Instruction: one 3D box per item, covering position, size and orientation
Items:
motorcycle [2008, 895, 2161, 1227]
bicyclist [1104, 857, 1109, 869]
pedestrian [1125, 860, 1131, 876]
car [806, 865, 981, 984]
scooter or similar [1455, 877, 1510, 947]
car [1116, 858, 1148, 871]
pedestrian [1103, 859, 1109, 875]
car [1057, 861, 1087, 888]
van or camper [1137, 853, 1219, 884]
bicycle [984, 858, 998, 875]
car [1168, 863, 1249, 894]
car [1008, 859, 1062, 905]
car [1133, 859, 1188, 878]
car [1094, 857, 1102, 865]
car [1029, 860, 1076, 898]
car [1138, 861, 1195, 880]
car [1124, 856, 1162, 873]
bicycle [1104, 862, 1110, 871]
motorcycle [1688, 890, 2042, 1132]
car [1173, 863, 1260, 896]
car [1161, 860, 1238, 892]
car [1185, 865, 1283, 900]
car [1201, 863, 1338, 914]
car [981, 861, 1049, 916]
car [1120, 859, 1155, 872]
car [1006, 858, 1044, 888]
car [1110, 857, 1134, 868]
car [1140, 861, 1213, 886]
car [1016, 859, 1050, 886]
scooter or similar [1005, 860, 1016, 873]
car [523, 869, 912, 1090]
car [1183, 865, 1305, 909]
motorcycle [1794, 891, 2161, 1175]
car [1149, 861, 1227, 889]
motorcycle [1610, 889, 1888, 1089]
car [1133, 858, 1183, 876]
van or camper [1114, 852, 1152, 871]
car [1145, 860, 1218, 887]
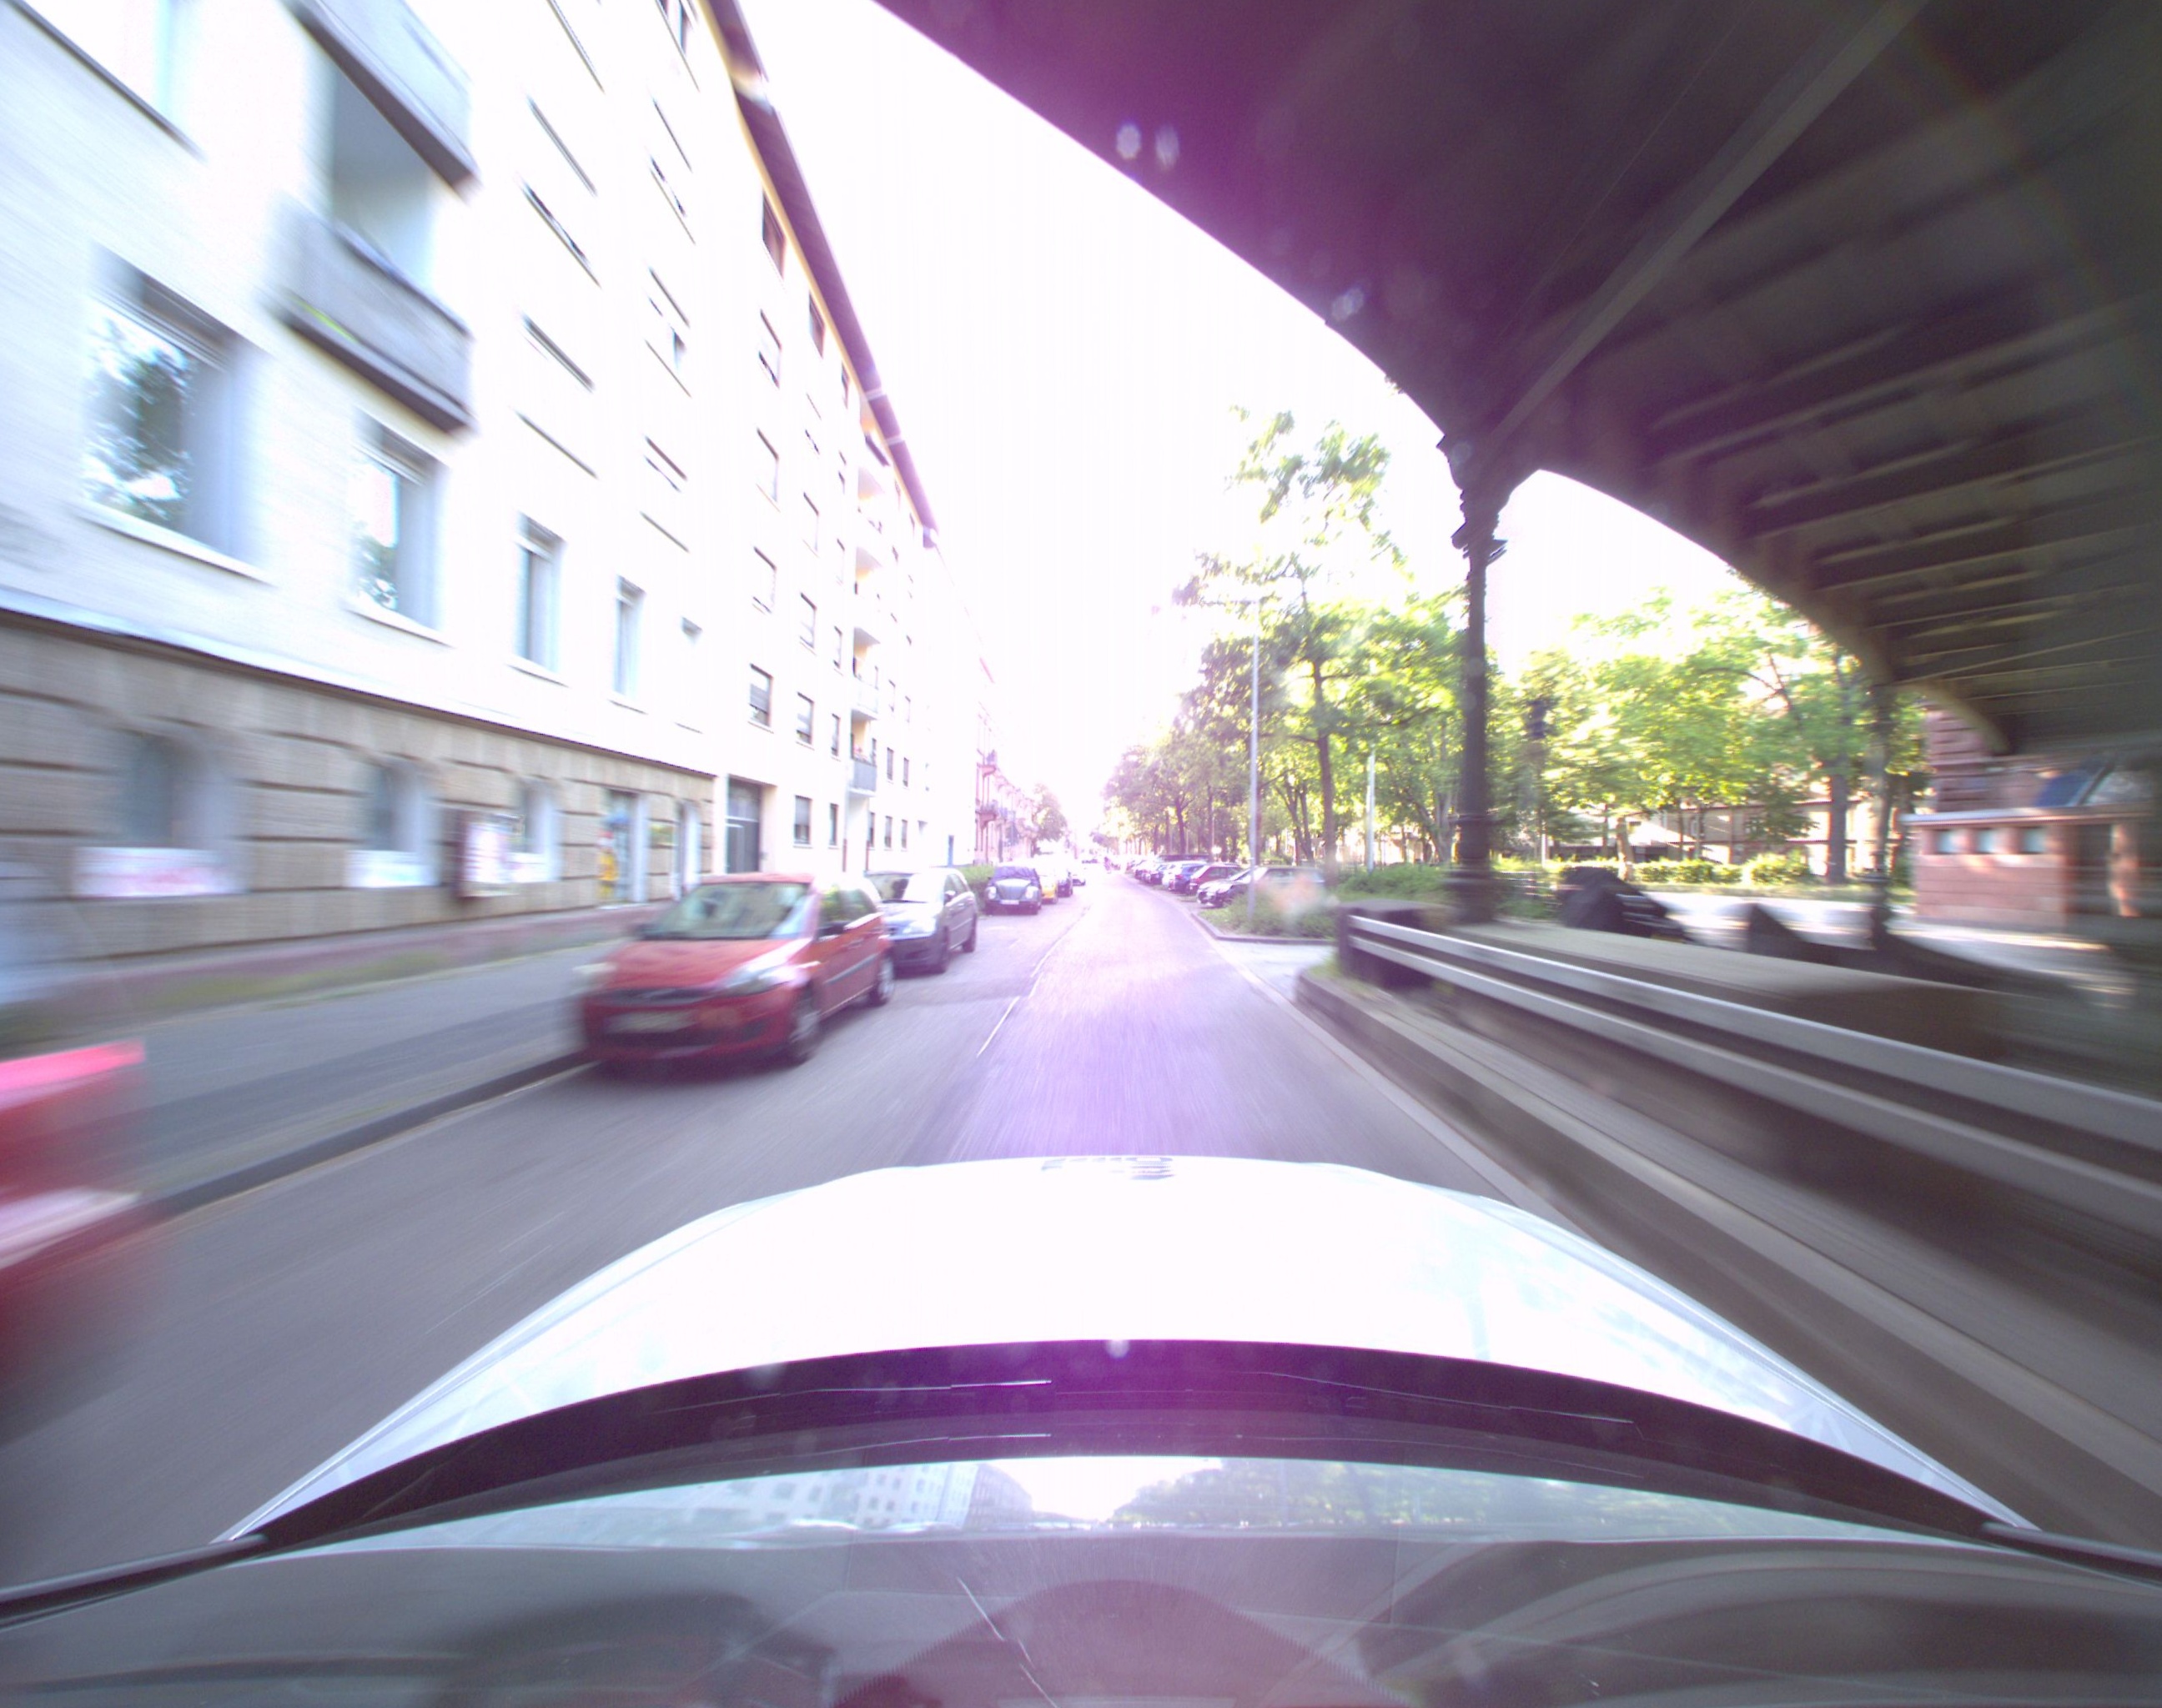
[{"bbox_3d":[5.411,0.919,3.598,1.586,1.408,0.716,1,-2,20],"label":"motorcycle"},{"bbox_3d":[3.421,1.168,108.002,0.625,1.573,0.802,2,-2,-1],"label":"bicyclist"},{"bbox_3d":[4.556,1.330,79.146,0.377,1.516,0.521,1,2,20],"label":"pedestrian"},{"bbox_3d":[-2.664,0.933,12.492,1.631,1.466,4.001,-2,-1,1],"label":"car"},{"bbox_3d":[7.857,1.104,15.970,0.475,1.298,1.326,2,-2,4],"label":"scooter or similar"},{"bbox_3d":[6.552,1.326,104.965,3.972,1.691,1.860,-1,0,1],"label":"car"},{"bbox_3d":[2.544,1.352,83.129,0.377,1.584,0.521,1,2,20],"label":"pedestrian"},{"bbox_3d":[-0.498,1.208,49.940,1.662,1.430,4.001,-2,1,1],"label":"car"},{"bbox_3d":[6.454,0.982,54.822,5.392,2.027,2.031,0,0,2],"label":"van or camper"},{"bbox_3d":[-6.976,0.948,63.294,0.734,1.206,2.515,2,0,2],"label":"bicycle"},{"bbox_3d":[6.141,1.175,39.605,3.766,1.474,1.665,0,-2,2],"label":"car"},{"bbox_3d":[-1.613,0.969,29.579,1.697,1.525,3.773,1,-1,0],"label":"car"},{"bbox_3d":[6.508,1.207,67.283,4.385,1.591,1.837,0,-1,-1],"label":"car"},{"bbox_3d":[3.433,1.430,166.359,1.663,1.464,3.999,0,0,0],"label":"car"},{"bbox_3d":[-1.145,1.017,34.511,1.733,1.479,4.002,0,0,2],"label":"car"},{"bbox_3d":[6.738,1.290,64.524,4.381,1.440,1.839,0,-1,2],"label":"car"},{"bbox_3d":[6.999,1.140,92.451,4.204,1.864,1.762,-1,0,1],"label":"car"},{"bbox_3d":[3.402,1.661,108.018,0.639,1.100,1.943,2,-2,-1],"label":"bicycle"},{"bbox_3d":[5.223,0.978,5.567,1.586,1.408,0.716,1,-2,20],"label":"motorcycle"},{"bbox_3d":[6.071,1.140,36.814,3.763,1.447,1.667,0,-2,5],"label":"car"},{"bbox_3d":[6.090,1.140,42.241,3.768,1.646,1.664,0,-2,1],"label":"car"},{"bbox_3d":[6.433,1.207,34.392,3.774,1.401,1.764,0,-2,-4],"label":"car"},{"bbox_3d":[5.675,1.043,24.780,3.774,1.472,1.633,0,-2,-4],"label":"car"},{"bbox_3d":[-1.905,0.975,24.424,1.560,1.517,3.784,1,-1,2],"label":"car"},{"bbox_3d":[6.742,1.359,96.898,4.200,1.453,1.651,-1,0,4],"label":"car"},{"bbox_3d":[-3.074,1.025,45.304,1.663,1.508,4.000,4,0,0],"label":"car"},{"bbox_3d":[7.020,1.430,139.713,3.977,1.794,1.857,2,-2,-3],"label":"car"},{"bbox_3d":[6.065,1.255,52.041,4.388,1.501,1.836,0,-2,-3],"label":"car"},{"bbox_3d":[-2.905,1.091,50.407,1.662,1.471,4.285,4,0,1],"label":"car"},{"bbox_3d":[-7.059,1.250,81.308,0.780,1.222,2.704,2,-2,1],"label":"scooter or similar"},{"bbox_3d":[-2.866,0.884,7.496,1.683,1.441,4.000,1,-1,1],"label":"car"},{"bbox_3d":[5.365,1.090,27.185,3.768,1.401,1.827,0,-2,1],"label":"car"},{"bbox_3d":[5.267,0.951,4.699,1.586,1.408,0.716,1,-2,20],"label":"motorcycle"},{"bbox_3d":[6.141,1.194,46.967,4.378,1.577,1.666,0,-2,5],"label":"car"},{"bbox_3d":[5.294,1.014,6.579,1.586,1.408,0.716,1,-2,20],"label":"motorcycle"},{"bbox_3d":[7.034,1.213,74.660,4.391,1.591,1.835,0,-1,-5],"label":"car"},{"bbox_3d":[6.966,1.004,109.435,4.968,2.377,2.183,2,-2,-2],"label":"van or camper"},{"bbox_3d":[6.108,1.193,49.920,4.381,1.577,1.665,0,-2,2],"label":"car"}]
